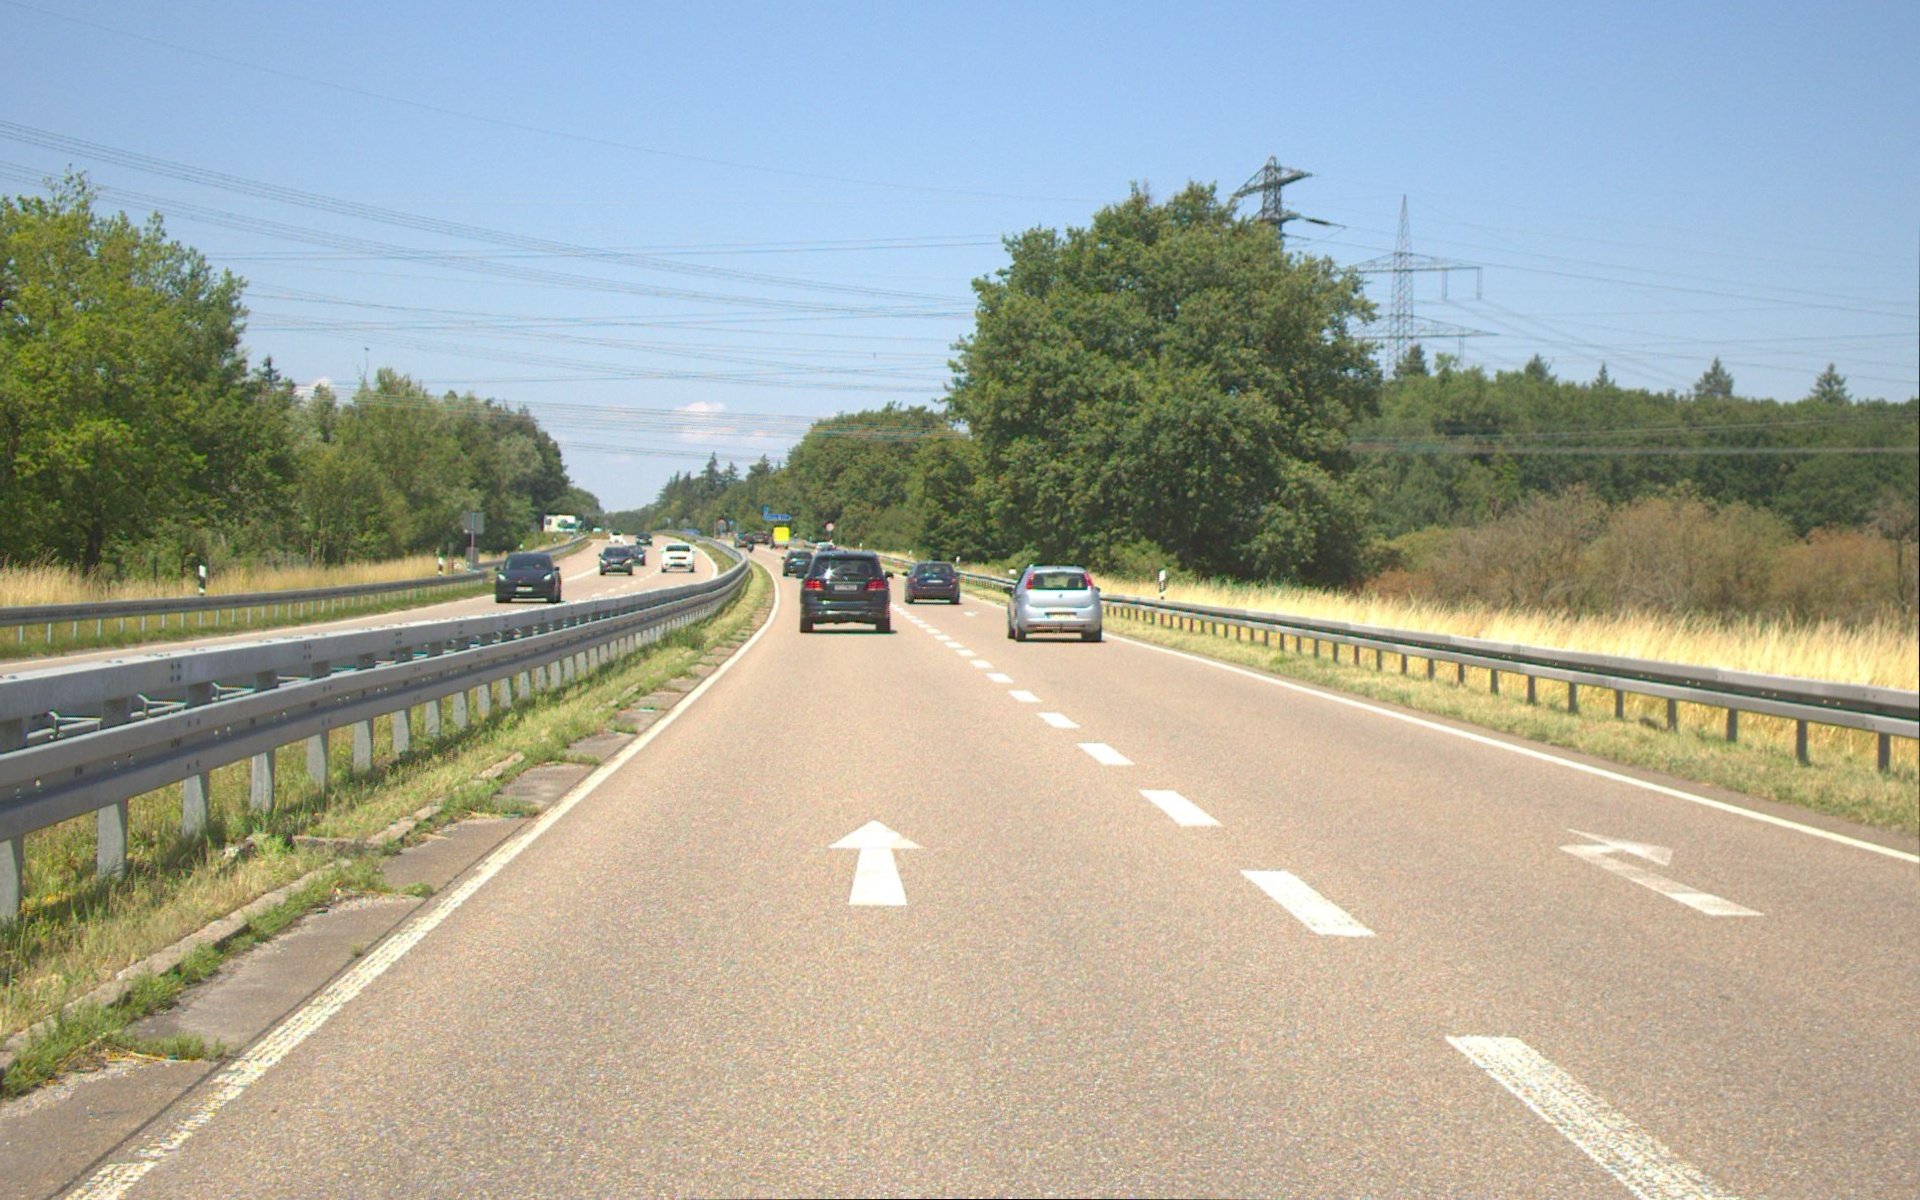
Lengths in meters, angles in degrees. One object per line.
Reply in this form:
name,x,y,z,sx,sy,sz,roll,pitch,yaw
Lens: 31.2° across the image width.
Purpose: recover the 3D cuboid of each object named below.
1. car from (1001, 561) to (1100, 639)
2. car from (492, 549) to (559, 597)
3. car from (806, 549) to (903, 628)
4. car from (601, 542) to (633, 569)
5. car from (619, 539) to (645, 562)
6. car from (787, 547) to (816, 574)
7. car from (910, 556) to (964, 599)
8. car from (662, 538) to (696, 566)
car,1.753,-0.027,67.758,1.779,1.474,4.315,1,1,-1
car,-14.133,-0.867,112.000,1.831,1.470,3.684,-3,0,-3
car,-2.239,-0.263,73.918,1.993,1.649,4.000,1,1,-1
car,-19.122,-2.464,191.584,1.614,1.470,3.066,1,1,-3
car,-22.433,-3.361,235.245,1.514,1.470,3.066,4,0,-2
car,-8.814,-2.195,190.719,1.514,1.470,3.066,0,1,-4
car,-0.791,-0.765,116.825,1.819,1.409,4.000,1,1,-1
car,-16.919,-2.886,206.947,1.993,1.656,4.001,0,1,-5
